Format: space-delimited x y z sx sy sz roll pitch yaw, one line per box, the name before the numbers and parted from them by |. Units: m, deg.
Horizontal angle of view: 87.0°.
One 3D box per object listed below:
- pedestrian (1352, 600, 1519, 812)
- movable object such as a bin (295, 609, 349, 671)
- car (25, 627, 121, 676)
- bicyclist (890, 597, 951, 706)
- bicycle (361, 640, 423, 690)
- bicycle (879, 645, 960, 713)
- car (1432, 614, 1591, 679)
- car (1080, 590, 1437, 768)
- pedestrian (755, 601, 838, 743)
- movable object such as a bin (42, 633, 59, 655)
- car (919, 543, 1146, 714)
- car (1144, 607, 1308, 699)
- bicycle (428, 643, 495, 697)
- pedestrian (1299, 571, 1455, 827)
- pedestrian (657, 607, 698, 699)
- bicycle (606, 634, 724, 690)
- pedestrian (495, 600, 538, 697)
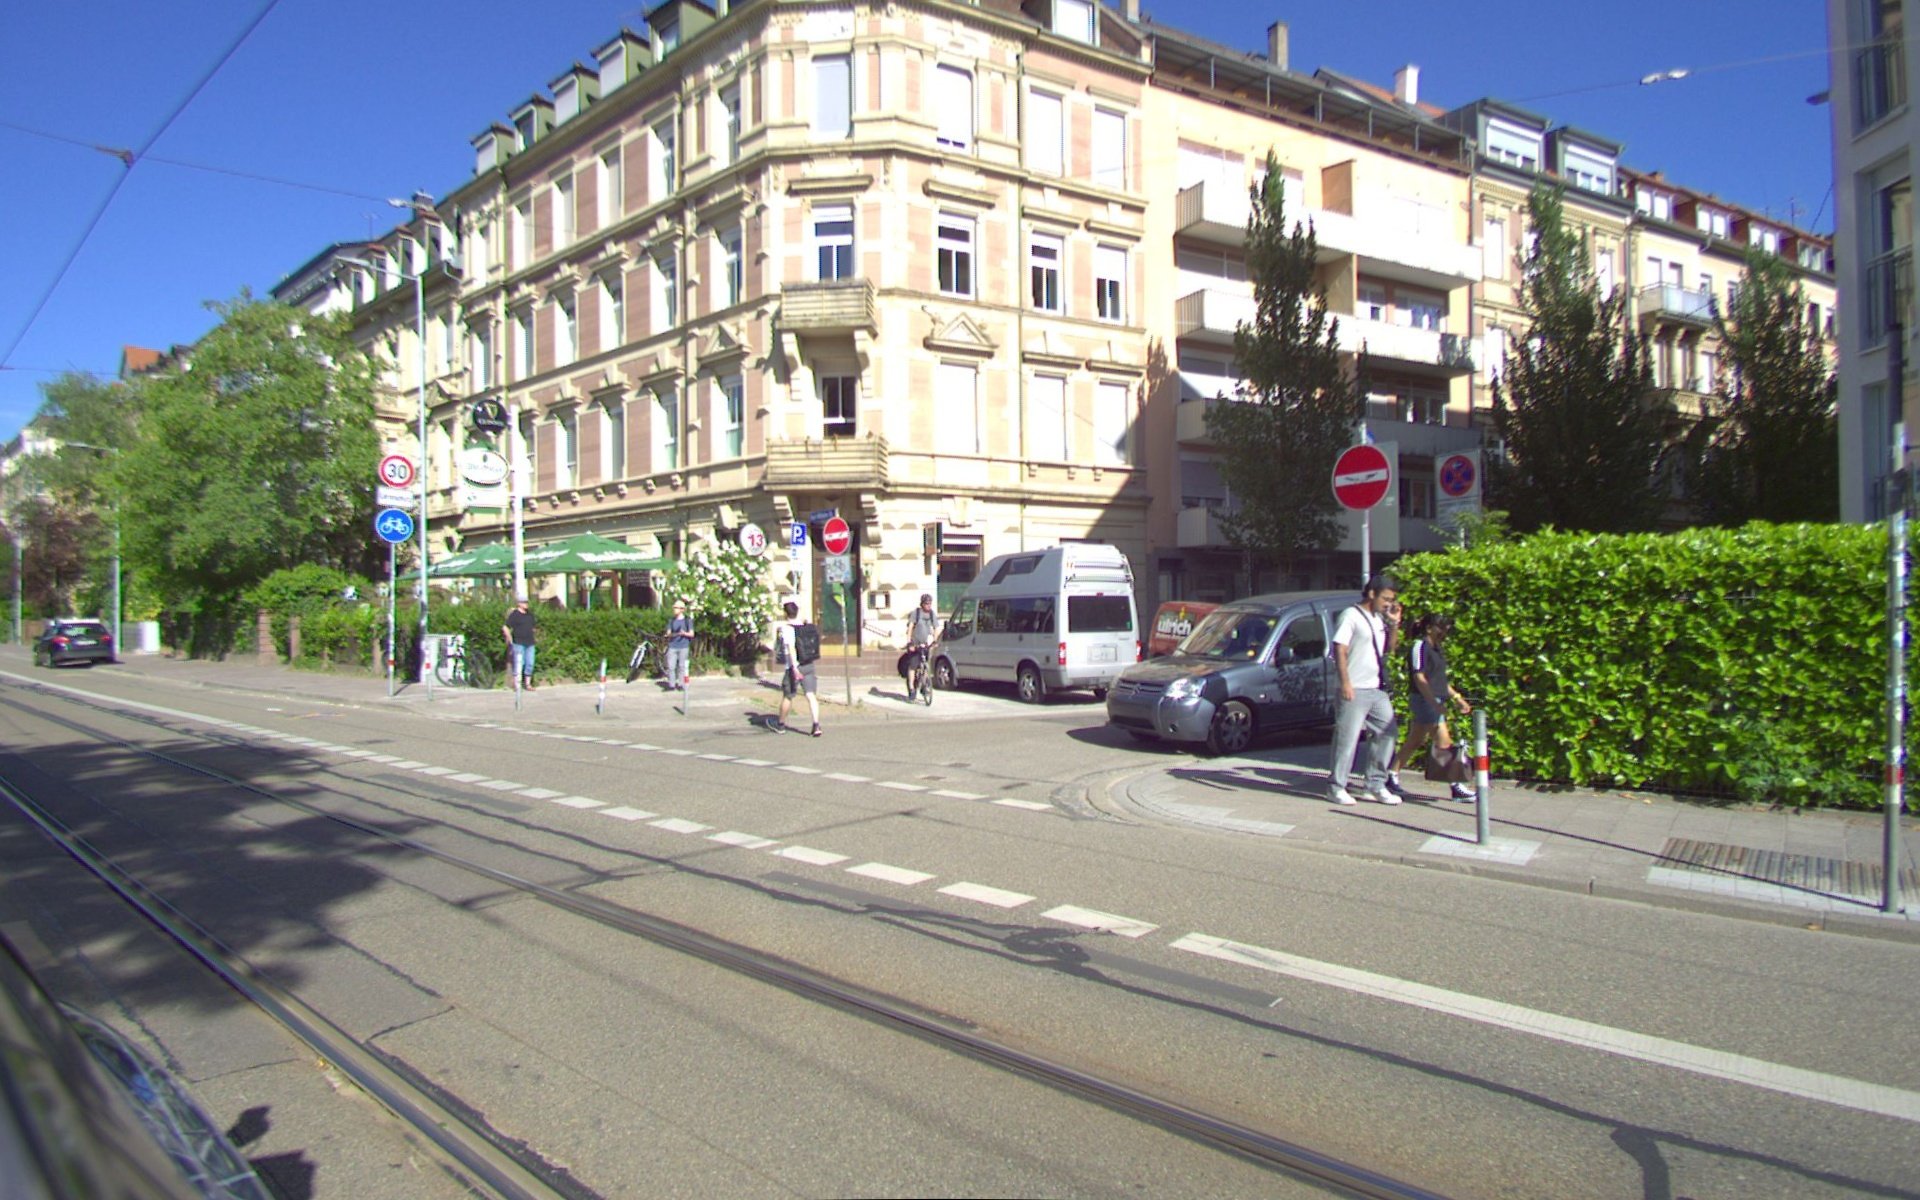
pedestrian | 3.657 0.763 7.787 0.956 1.489 0.747 -2 0 41
movable object such as a bin | -19.364 1.190 30.717 1.268 1.744 1.045 -3 1 -34
car | -30.662 1.733 34.936 4.586 1.588 1.845 -2 -3 41
bicyclist | -0.709 0.889 17.922 0.694 1.868 0.989 0 0 -29
bicycle | -12.620 1.423 22.455 2.222 1.046 0.508 -2 -1 41
bicycle | -0.744 1.367 17.979 0.694 1.063 1.841 0 0 -29
car | 14.815 1.198 27.379 1.368 1.566 3.625 0 0 -28
car | 3.594 0.818 12.090 3.984 1.820 1.797 0 0 -28
pedestrian | -2.136 0.916 13.239 0.866 1.781 0.684 -2 -2 44
movable object such as a bin | -49.321 2.369 54.884 0.664 1.184 0.583 -2 -1 36
car | 1.223 0.476 19.447 1.860 2.862 4.797 0 0 -32
car | 5.576 1.036 21.518 1.428 1.765 3.353 0 0 -30
bicycle | -9.756 1.348 19.771 1.776 0.988 0.522 -2 -1 41
pedestrian | 3.047 0.671 7.387 0.808 1.727 0.747 -2 0 41
pedestrian | -5.284 0.971 18.903 0.695 1.667 0.835 0 0 -18
bicycle | -6.141 1.268 21.151 2.211 1.052 0.877 0 0 -40
pedestrian | -8.329 0.899 19.004 0.538 1.795 0.551 -1 -1 37
